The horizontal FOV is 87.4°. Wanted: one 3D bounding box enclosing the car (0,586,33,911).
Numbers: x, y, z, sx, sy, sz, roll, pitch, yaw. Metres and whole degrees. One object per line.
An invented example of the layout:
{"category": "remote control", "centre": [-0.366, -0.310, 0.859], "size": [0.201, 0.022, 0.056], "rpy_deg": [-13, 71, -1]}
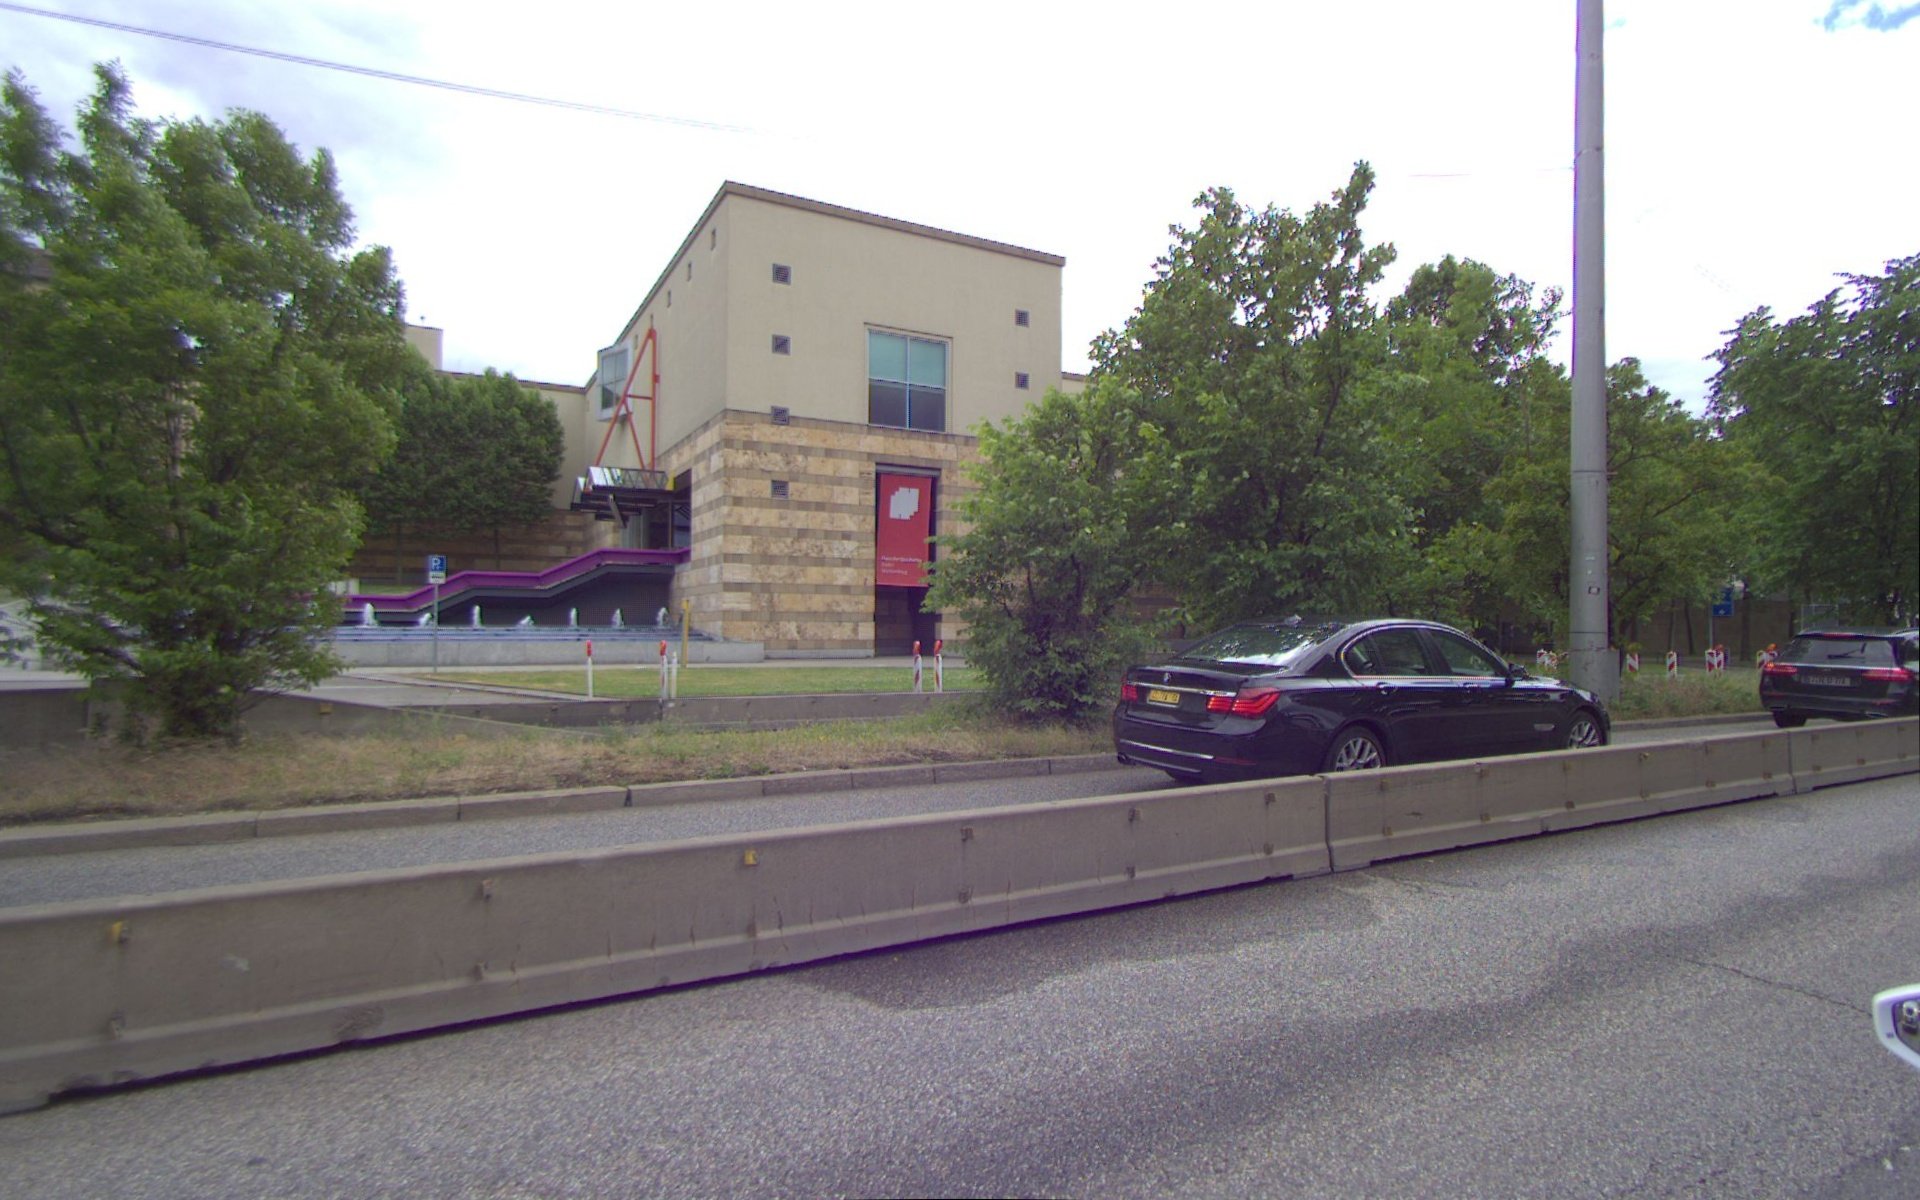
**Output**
{"category": "car", "centre": [-5.868, 0.620, 3.102], "size": [4.154, 1.473, 1.649], "rpy_deg": [2, -1, -34]}

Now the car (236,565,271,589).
{"category": "car", "centre": [-49.856, -1.620, 70.907], "size": [1.591, 1.557, 3.778], "rpy_deg": [2, 0, -29]}

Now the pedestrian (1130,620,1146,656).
{"category": "pedestrian", "centre": [8.020, 1.708, 45.254], "size": [0.616, 1.590, 0.434], "rpy_deg": [1, -1, -36]}

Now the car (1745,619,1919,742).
{"category": "car", "centre": [13.496, 1.073, 14.453], "size": [4.711, 1.519, 1.808], "rpy_deg": [1, -1, -29]}

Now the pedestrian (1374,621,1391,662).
{"category": "pedestrian", "centre": [21.312, 2.088, 50.661], "size": [0.657, 2.040, 0.449], "rpy_deg": [1, -1, -29]}

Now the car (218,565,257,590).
{"category": "car", "centre": [-46.477, -1.454, 64.668], "size": [1.591, 1.557, 3.778], "rpy_deg": [2, 0, -29]}

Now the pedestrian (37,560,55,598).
{"category": "pedestrian", "centre": [-43.224, -1.002, 47.525], "size": [0.472, 1.772, 0.642], "rpy_deg": [1, 0, -30]}

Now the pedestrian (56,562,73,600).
{"category": "pedestrian", "centre": [-42.690, -0.899, 47.884], "size": [0.472, 1.772, 0.642], "rpy_deg": [1, 0, -30]}

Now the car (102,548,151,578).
{"category": "car", "centre": [-55.636, -2.438, 67.116], "size": [1.589, 1.822, 3.782], "rpy_deg": [1, 0, -26]}

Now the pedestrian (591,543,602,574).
{"category": "pedestrian", "centre": [-23.800, -2.710, 65.729], "size": [0.593, 2.040, 0.409], "rpy_deg": [2, 1, -30]}

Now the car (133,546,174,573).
{"category": "car", "centre": [-59.277, -2.927, 73.856], "size": [1.590, 1.822, 3.781], "rpy_deg": [1, 0, -27]}

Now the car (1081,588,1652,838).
{"category": "car", "centre": [3.604, 0.812, 8.690], "size": [4.875, 1.658, 1.916], "rpy_deg": [2, -1, -28]}
